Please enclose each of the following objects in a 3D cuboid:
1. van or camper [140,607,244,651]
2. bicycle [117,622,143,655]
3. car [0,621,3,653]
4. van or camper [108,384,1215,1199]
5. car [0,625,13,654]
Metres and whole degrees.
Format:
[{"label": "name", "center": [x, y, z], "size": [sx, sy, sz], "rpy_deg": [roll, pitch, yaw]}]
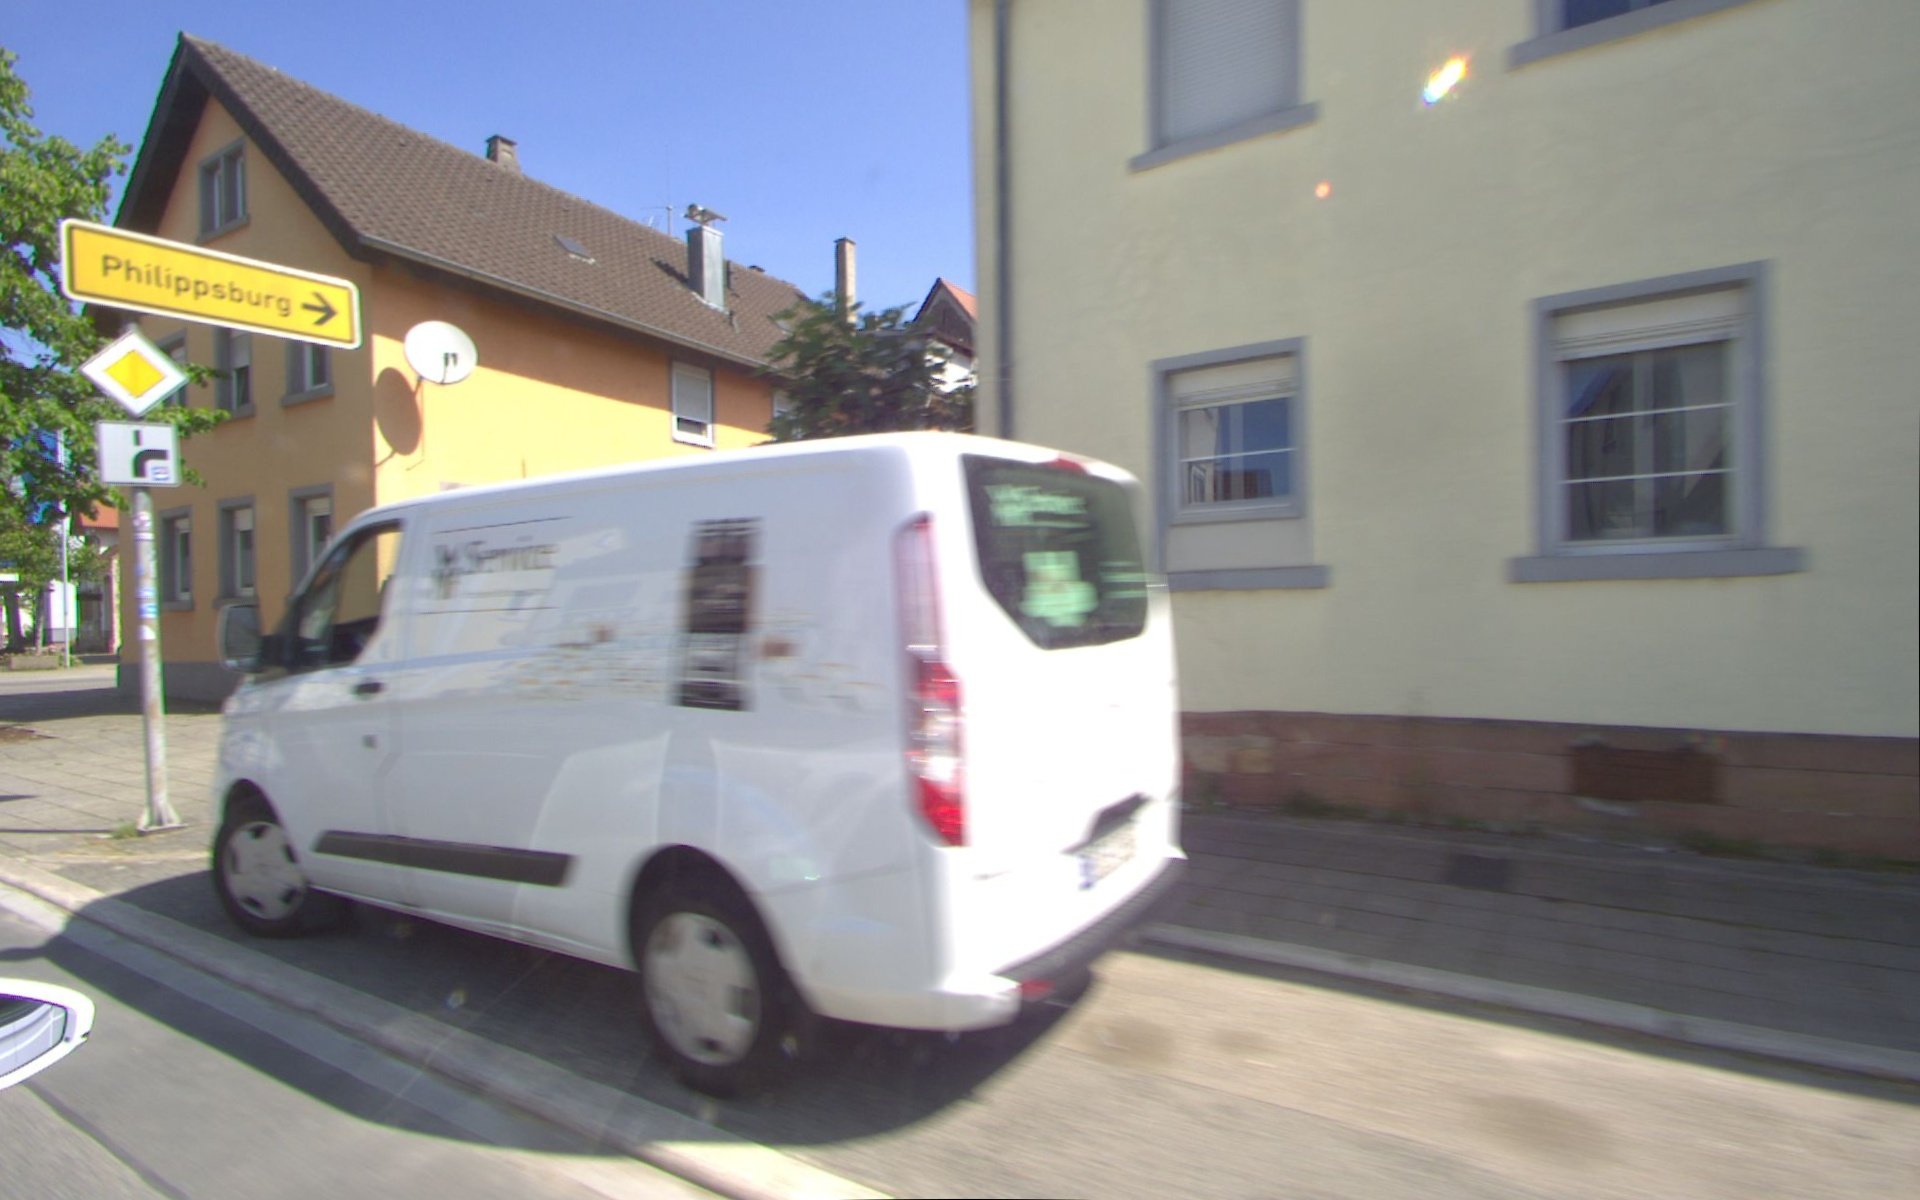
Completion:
[{"label": "van or camper", "center": [-37.551, 1.378, 49.040], "size": [3.954, 2.040, 1.984], "rpy_deg": [0, 0, -39]}, {"label": "bicycle", "center": [-30.486, 1.407, 36.769], "size": [0.589, 1.151, 1.731], "rpy_deg": [-1, 0, -45]}, {"label": "car", "center": [-51.712, 1.844, 50.554], "size": [1.978, 1.644, 4.780], "rpy_deg": [-2, -3, 42]}, {"label": "van or camper", "center": [-1.698, 0.511, 4.672], "size": [5.269, 1.979, 1.990], "rpy_deg": [-1, -1, 32]}, {"label": "car", "center": [-46.691, 1.838, 46.445], "size": [1.978, 1.362, 3.904], "rpy_deg": [-1, -1, 42]}]
